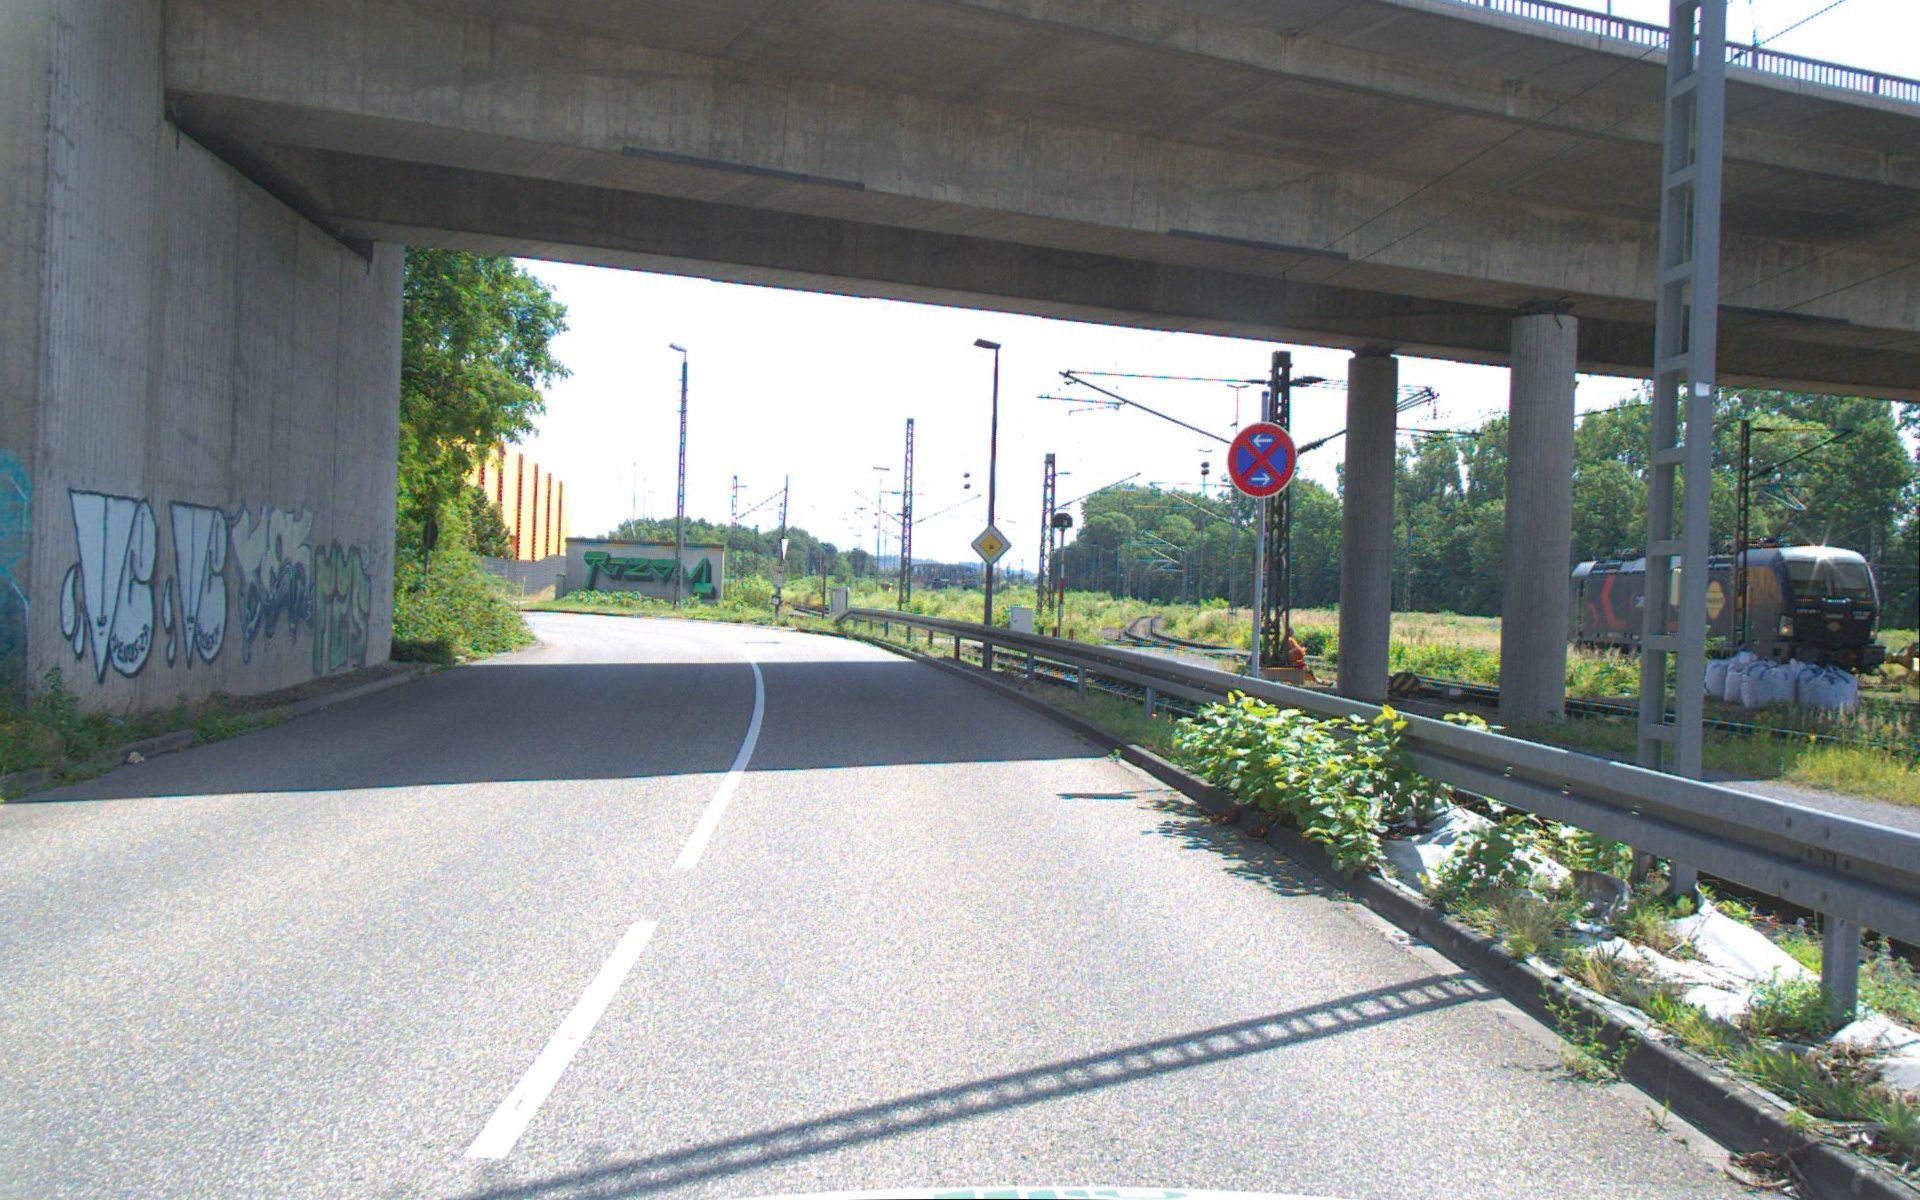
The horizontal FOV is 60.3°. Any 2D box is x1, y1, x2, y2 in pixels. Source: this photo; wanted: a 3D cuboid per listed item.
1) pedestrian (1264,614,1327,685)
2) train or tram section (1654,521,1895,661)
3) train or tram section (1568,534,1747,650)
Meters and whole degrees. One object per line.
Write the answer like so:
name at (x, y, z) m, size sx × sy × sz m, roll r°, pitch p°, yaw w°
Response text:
pedestrian at (7.692, 1.114, 38.001) m, size 1.087 × 1.567 × 1.579 m, roll 2°, pitch 0°, yaw -1°
train or tram section at (22.991, -0.225, 47.334) m, size 2.830 × 3.570 × 8.567 m, roll 2°, pitch 0°, yaw 2°
train or tram section at (23.282, -0.234, 55.722) m, size 2.698 × 3.538 × 8.240 m, roll 2°, pitch 0°, yaw 2°
